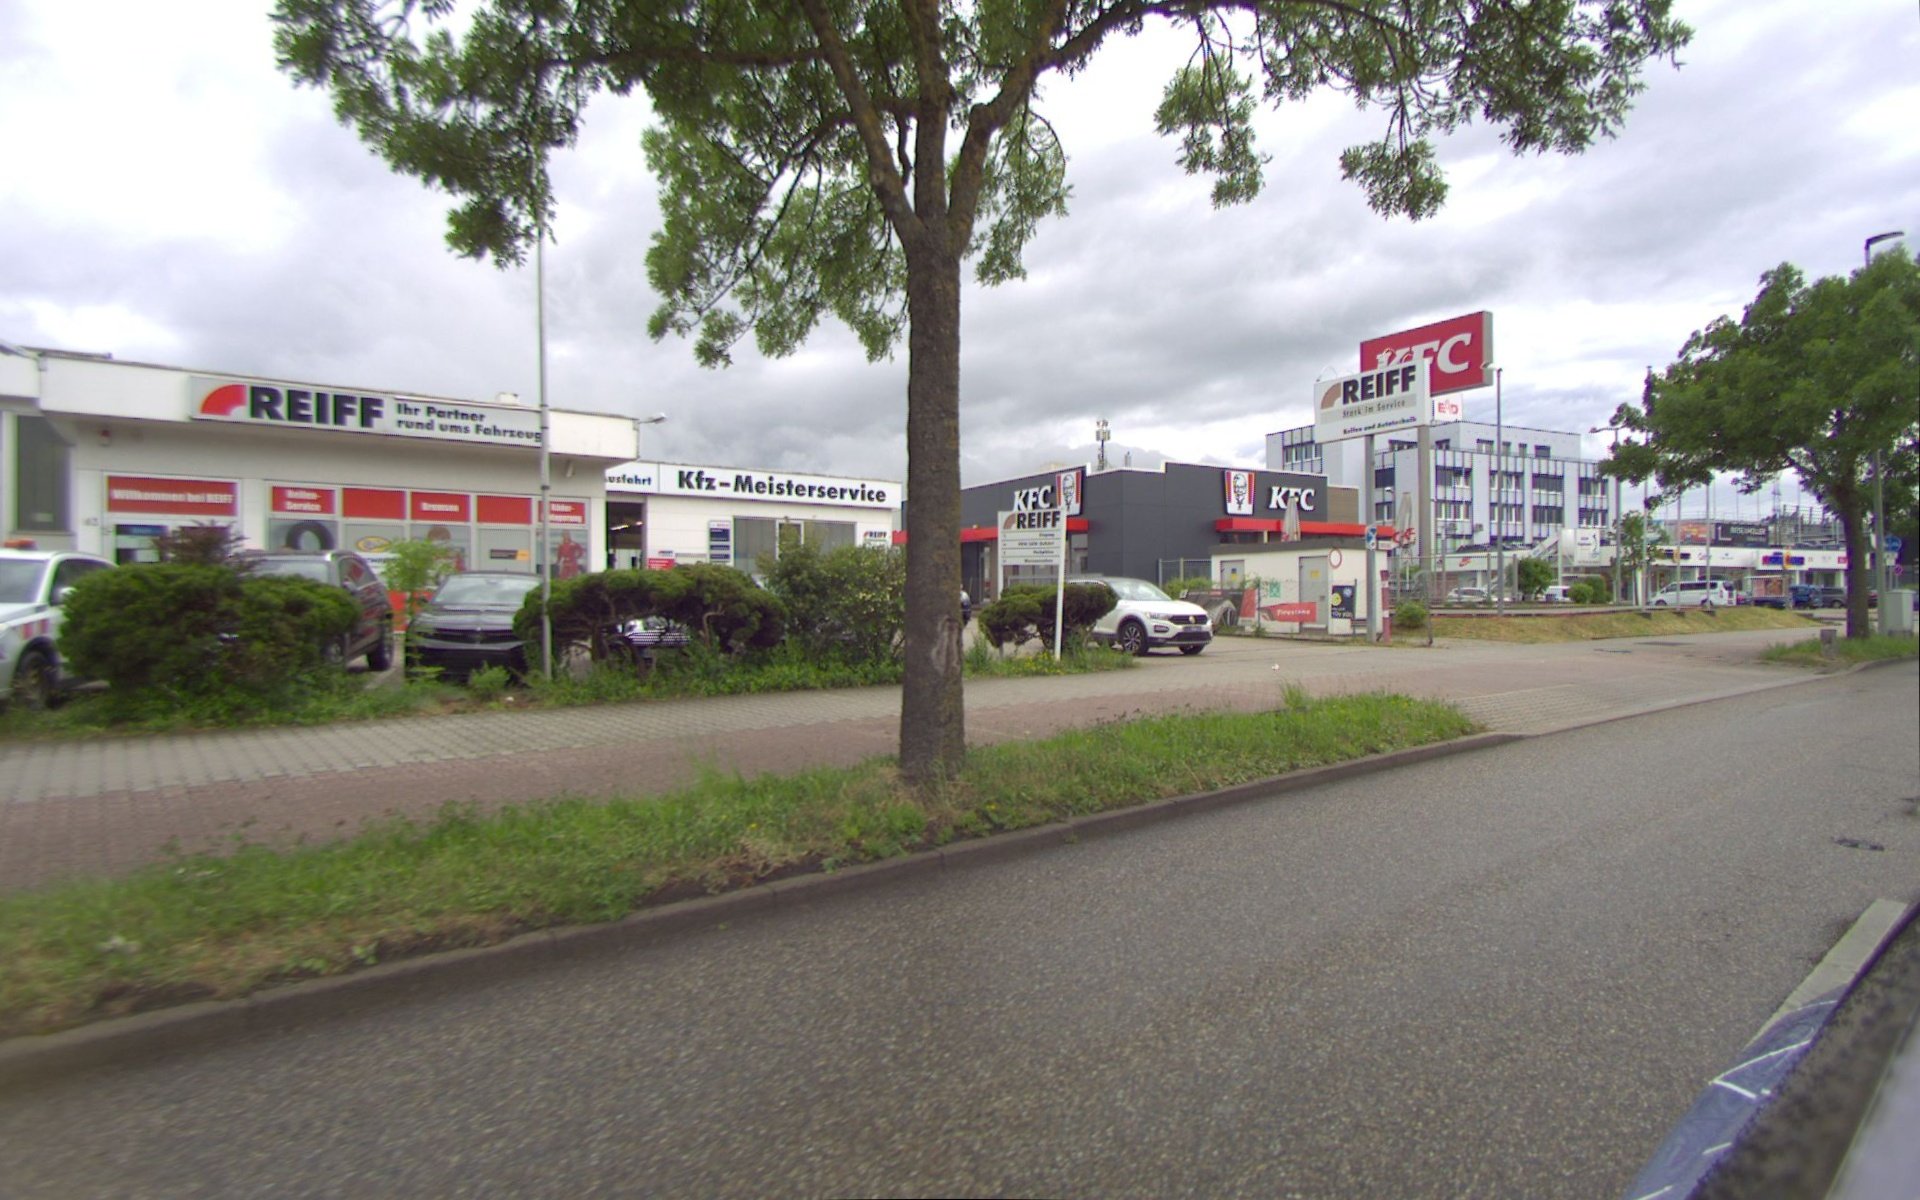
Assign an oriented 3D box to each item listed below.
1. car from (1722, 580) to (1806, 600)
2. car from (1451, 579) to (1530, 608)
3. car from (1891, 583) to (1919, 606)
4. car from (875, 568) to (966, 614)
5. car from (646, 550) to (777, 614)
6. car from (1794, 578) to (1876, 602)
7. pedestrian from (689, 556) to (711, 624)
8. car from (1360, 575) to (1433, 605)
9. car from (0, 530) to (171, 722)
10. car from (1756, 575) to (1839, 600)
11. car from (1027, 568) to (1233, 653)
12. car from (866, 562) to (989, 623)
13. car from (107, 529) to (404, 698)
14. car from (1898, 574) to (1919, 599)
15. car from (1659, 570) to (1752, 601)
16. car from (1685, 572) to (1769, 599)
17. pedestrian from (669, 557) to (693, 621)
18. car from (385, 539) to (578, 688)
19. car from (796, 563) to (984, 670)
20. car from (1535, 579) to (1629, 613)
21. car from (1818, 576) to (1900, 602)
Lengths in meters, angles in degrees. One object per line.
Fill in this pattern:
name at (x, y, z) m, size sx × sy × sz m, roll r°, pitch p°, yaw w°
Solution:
car at (57.949, -0.757, 73.027) m, size 1.786 × 1.411 × 4.382 m, roll 0°, pitch 1°, yaw -26°
car at (32.684, -0.412, 62.432) m, size 1.787 × 1.730 × 4.005 m, roll 0°, pitch 1°, yaw -29°
car at (61.631, -0.339, 63.662) m, size 1.785 × 1.411 × 4.135 m, roll 0°, pitch 1°, yaw -22°
car at (-1.613, -0.402, 40.235) m, size 1.865 × 1.722 × 4.182 m, roll -1°, pitch 1°, yaw -31°
car at (-6.366, -0.450, 25.644) m, size 1.755 × 1.497 × 3.855 m, roll -1°, pitch 1°, yaw -39°
car at (67.032, -0.803, 77.578) m, size 1.858 × 1.786 × 4.382 m, roll 0°, pitch 1°, yaw -26°
pedestrian at (-7.003, -0.281, 27.268) m, size 0.505 × 1.807 × 0.439 m, roll 0°, pitch 1°, yaw -25°
car at (26.298, -0.585, 60.936) m, size 4.414 × 1.762 × 1.894 m, roll 0°, pitch 1°, yaw -32°
car at (-9.664, 0.172, 9.914) m, size 1.943 × 1.617 × 4.077 m, roll 0°, pitch 1°, yaw -21°
car at (62.510, -0.925, 75.635) m, size 1.858 × 1.786 × 4.382 m, roll 0°, pitch 1°, yaw -26°
car at (3.377, 0.157, 20.853) m, size 1.853 × 1.571 × 4.190 m, roll 0°, pitch 1°, yaw -33°
car at (-1.046, -0.235, 30.298) m, size 1.919 × 1.701 × 4.002 m, roll 0°, pitch 1°, yaw -32°
car at (-8.311, 0.117, 12.409) m, size 1.783 × 1.683 × 4.165 m, roll 2°, pitch 1°, yaw -18°
car at (80.248, -1.100, 83.332) m, size 1.871 × 2.039 × 4.008 m, roll 0°, pitch 1°, yaw -23°
car at (51.029, -0.976, 69.399) m, size 1.958 × 2.039 × 4.796 m, roll 0°, pitch 1°, yaw -25°
car at (53.775, -1.026, 71.039) m, size 1.858 × 1.843 × 4.382 m, roll 0°, pitch 1°, yaw -26°
pedestrian at (-7.894, -0.312, 28.612) m, size 0.495 × 1.807 × 0.516 m, roll 0°, pitch 1°, yaw -35°
car at (-6.326, 0.130, 13.832) m, size 1.783 × 1.683 × 4.165 m, roll 2°, pitch 1°, yaw -18°
car at (-1.292, 0.184, 16.707) m, size 1.683 × 1.541 × 4.007 m, roll 0°, pitch 1°, yaw -27°
car at (35.549, -0.276, 57.921) m, size 1.762 × 1.806 × 4.254 m, roll 3°, pitch 0°, yaw -29°
car at (69.489, -0.870, 78.269) m, size 1.858 × 1.930 × 4.382 m, roll 0°, pitch 1°, yaw -26°
